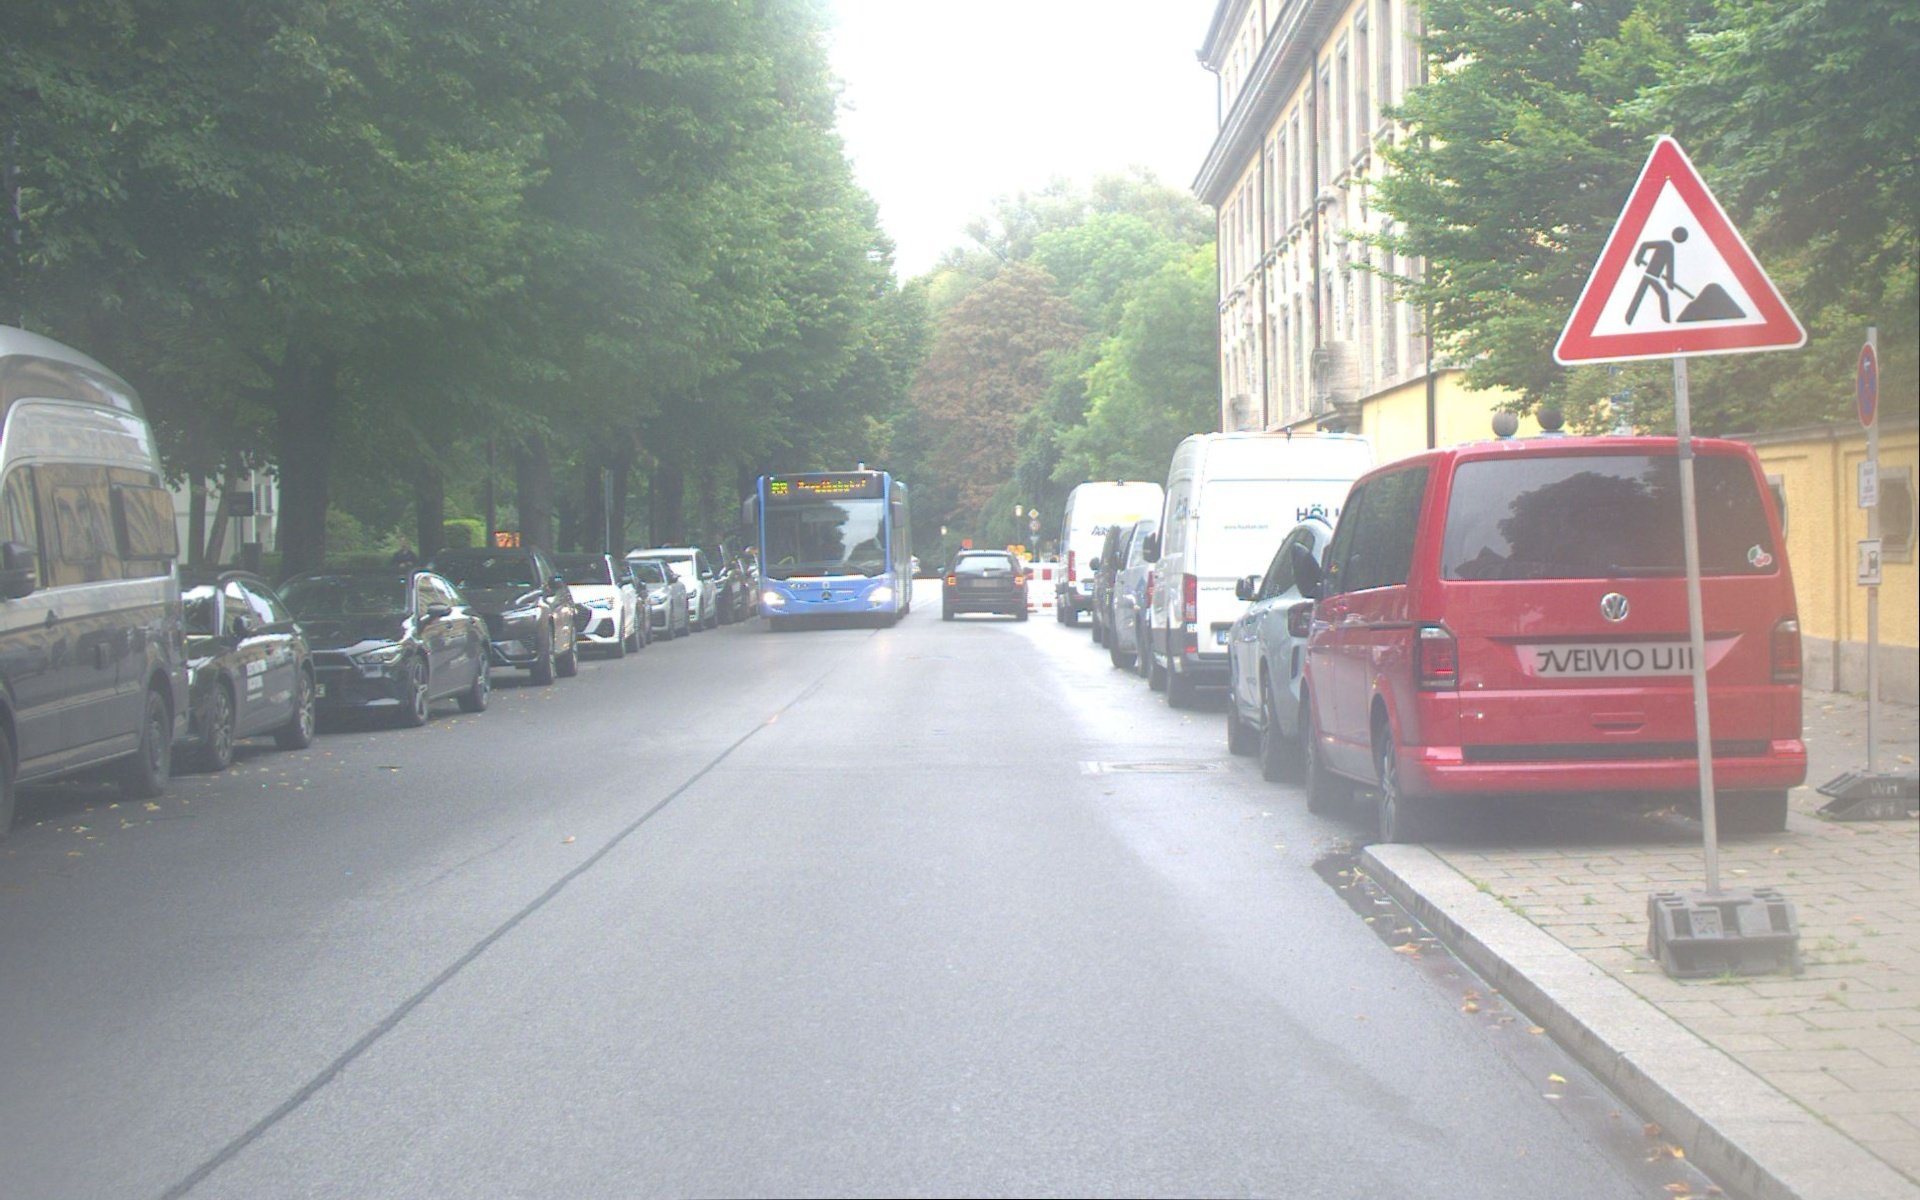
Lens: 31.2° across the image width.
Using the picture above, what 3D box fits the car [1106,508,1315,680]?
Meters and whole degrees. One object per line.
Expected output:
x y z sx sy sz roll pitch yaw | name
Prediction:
2.888 -0.099 40.663 2.013 1.900 5.164 0 1 -1 | car

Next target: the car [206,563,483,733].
-5.610 0.415 31.836 1.790 1.433 4.551 -1 0 -1 | car

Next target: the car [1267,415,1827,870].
2.820 0.186 17.801 1.859 1.961 5.445 -1 0 -1 | car

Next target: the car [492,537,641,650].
-5.879 -0.109 51.784 1.784 1.592 4.585 -1 0 -1 | car

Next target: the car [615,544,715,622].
-5.783 -0.346 67.692 1.672 1.464 4.104 -1 0 -1 | car

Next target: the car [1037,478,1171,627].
2.696 -0.892 66.180 2.054 2.664 7.615 -1 0 -1 | car

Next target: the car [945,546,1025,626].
0.537 -0.299 71.038 1.577 1.578 4.044 -1 1 1 | car

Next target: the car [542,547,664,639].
-5.983 -0.125 57.937 1.672 1.464 4.104 -1 0 -1 | car

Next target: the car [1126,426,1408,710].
2.862 -0.280 33.358 2.095 2.479 5.740 -1 0 -1 | car

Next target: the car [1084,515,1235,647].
2.956 -0.299 51.935 1.870 1.862 4.987 -1 0 -1 | car

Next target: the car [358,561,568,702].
-5.457 0.334 38.150 1.790 1.449 3.949 -1 0 -1 | car

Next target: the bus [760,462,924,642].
-2.253 -0.874 72.074 2.859 3.228 18.426 -1 0 0 | bus

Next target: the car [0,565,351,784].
-6.057 0.507 26.544 1.790 1.433 4.578 -1 1 1 | car

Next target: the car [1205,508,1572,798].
2.742 0.291 22.985 1.859 1.735 4.603 0 1 0 | car

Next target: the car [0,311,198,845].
-6.117 -0.107 20.210 1.945 2.845 6.236 -1 0 -1 | car
